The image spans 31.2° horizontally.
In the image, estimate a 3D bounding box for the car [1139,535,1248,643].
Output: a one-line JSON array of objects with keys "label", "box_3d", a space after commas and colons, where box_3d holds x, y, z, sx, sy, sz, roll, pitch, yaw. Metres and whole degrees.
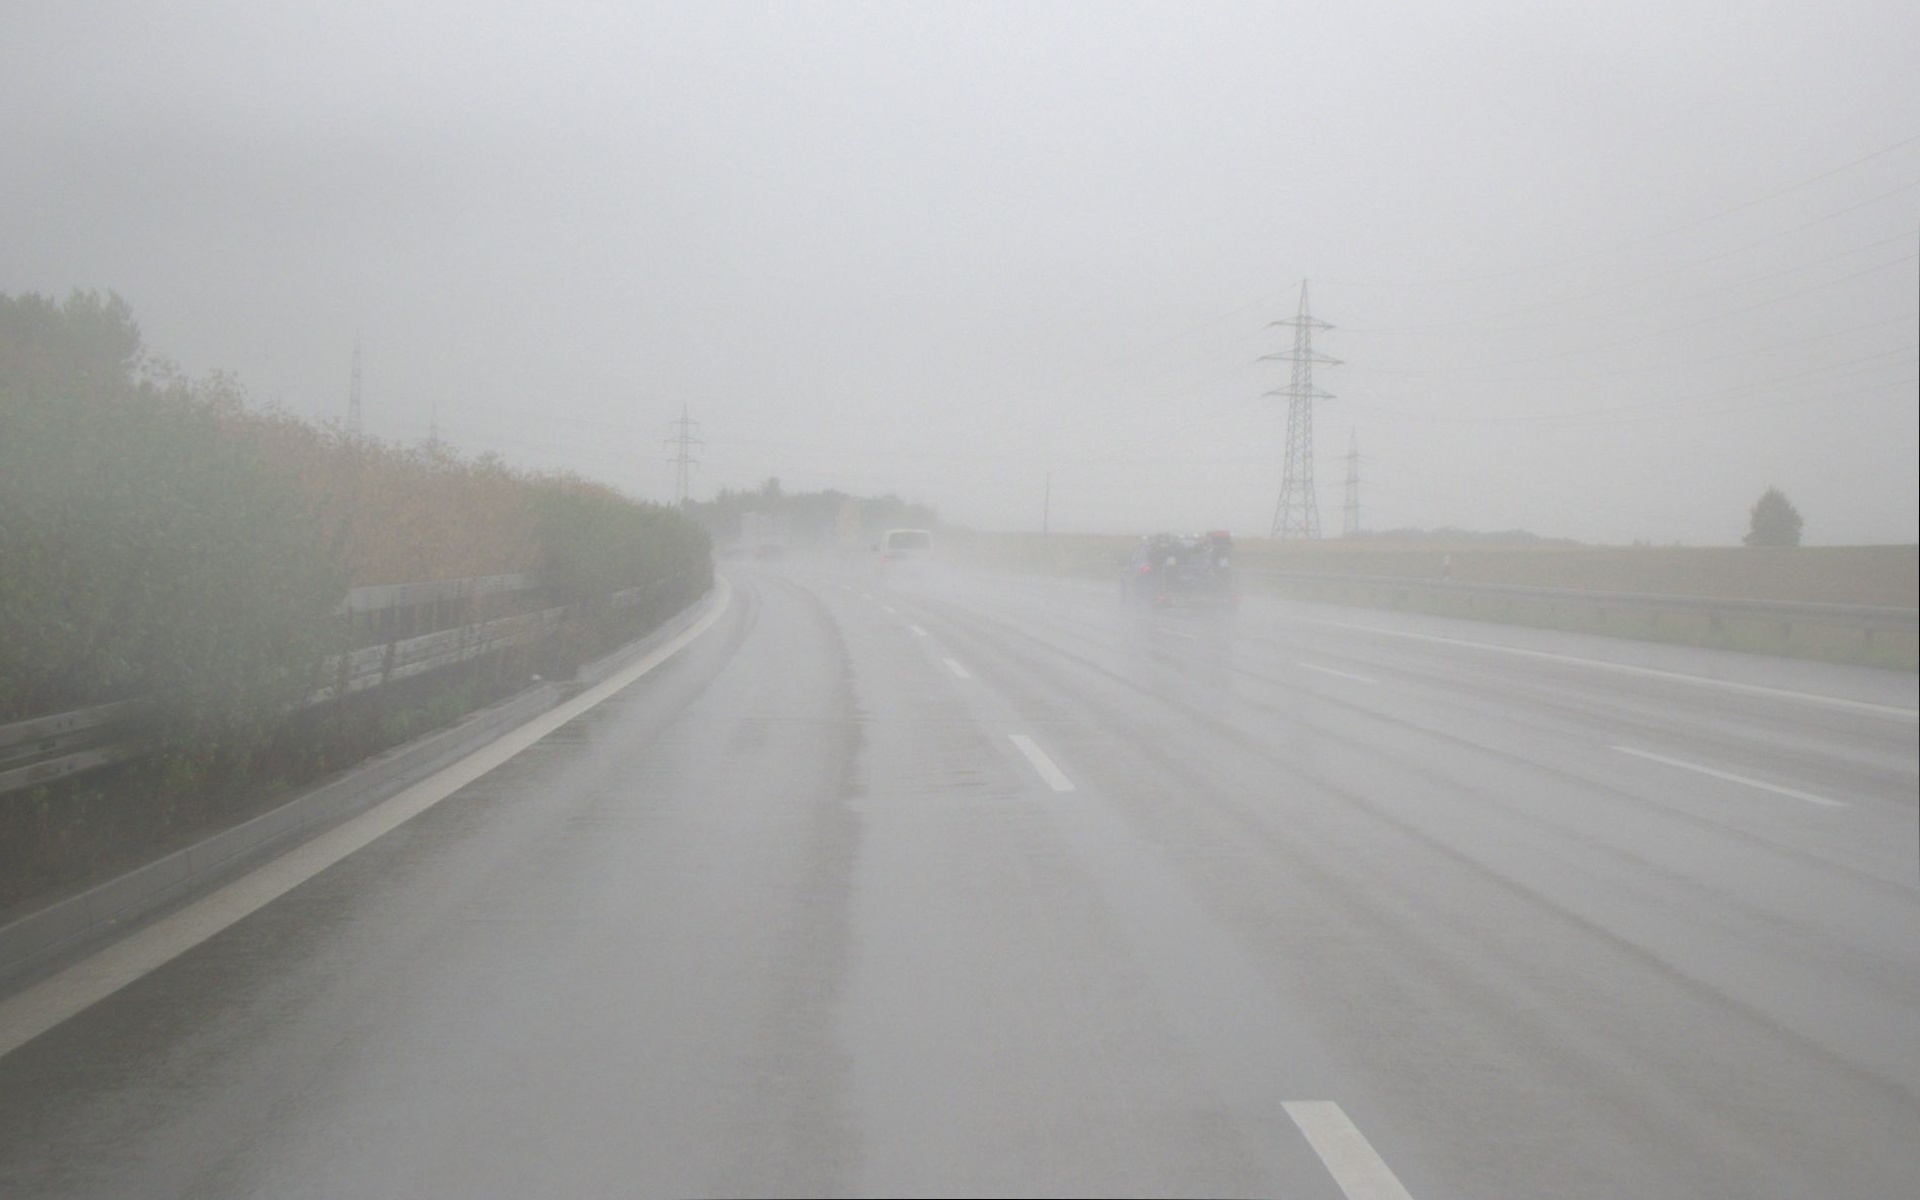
[{"label": "car", "box_3d": [4.844, -0.257, 71.645, 1.807, 2.151, 4.001, 1, 1, -2]}]

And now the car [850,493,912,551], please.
[{"label": "car", "box_3d": [-4.575, -4.459, 197.320, 3.199, 3.182, 7.258, 1, 1, -4]}]
